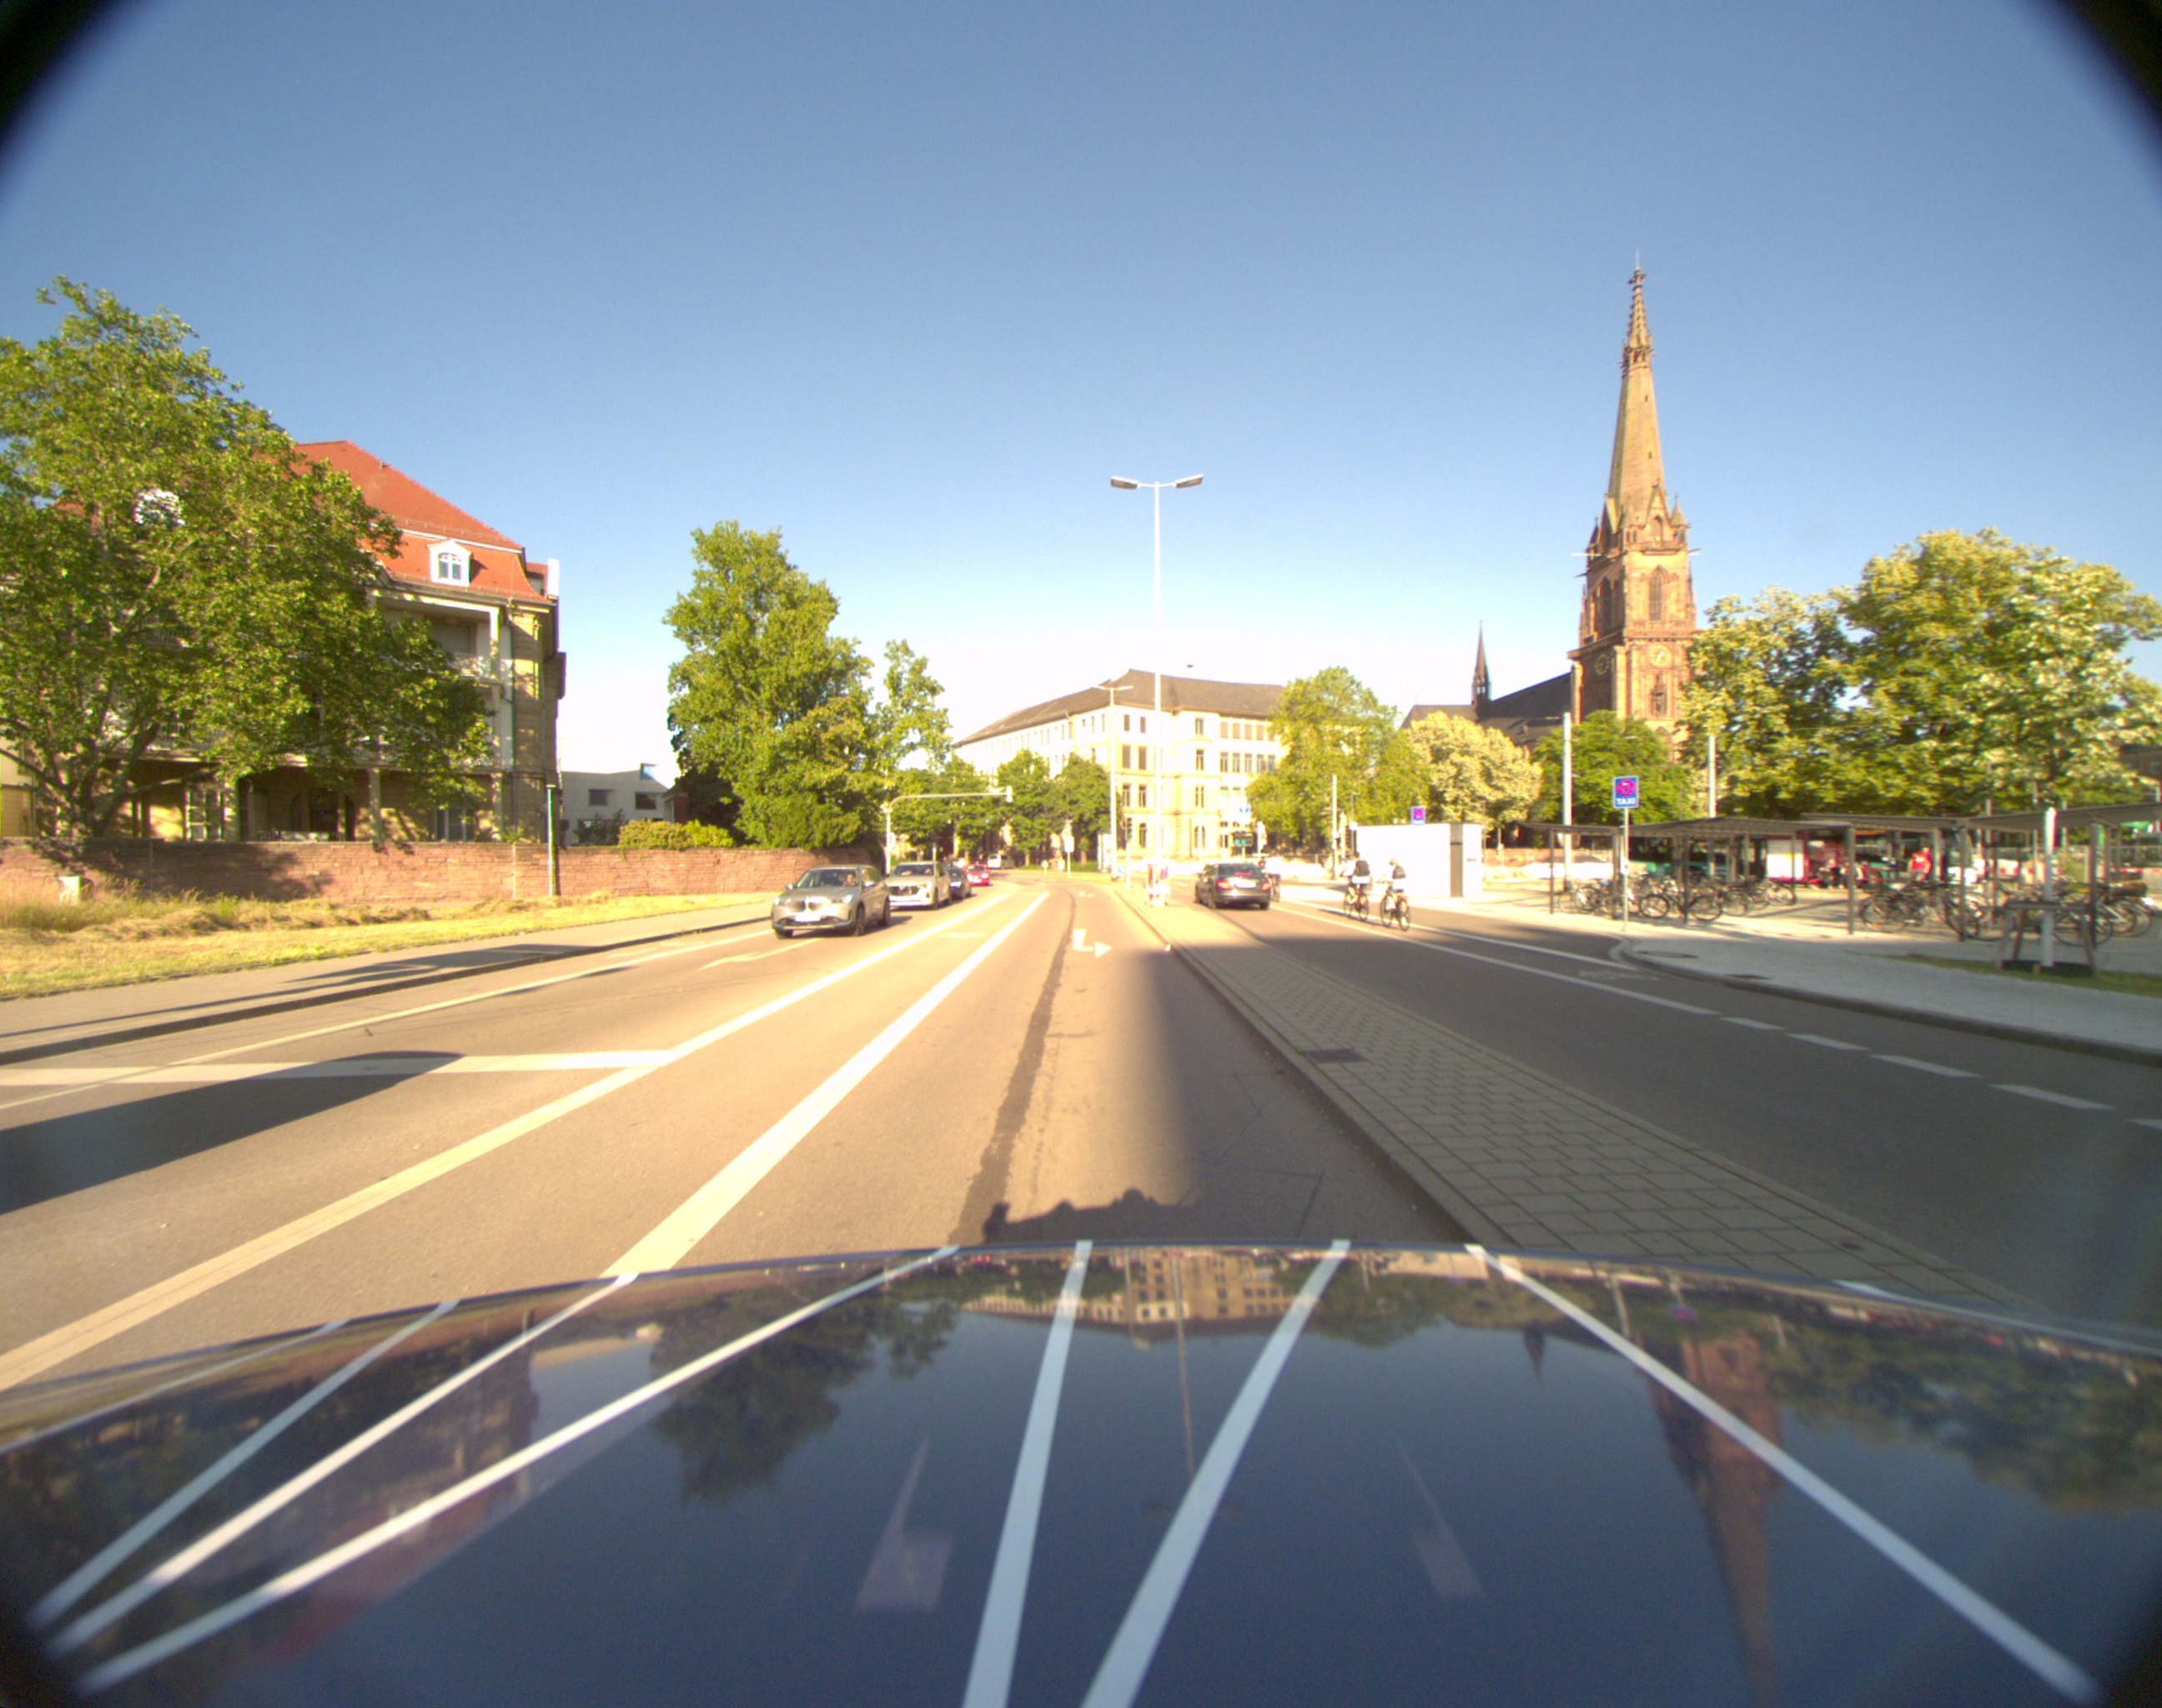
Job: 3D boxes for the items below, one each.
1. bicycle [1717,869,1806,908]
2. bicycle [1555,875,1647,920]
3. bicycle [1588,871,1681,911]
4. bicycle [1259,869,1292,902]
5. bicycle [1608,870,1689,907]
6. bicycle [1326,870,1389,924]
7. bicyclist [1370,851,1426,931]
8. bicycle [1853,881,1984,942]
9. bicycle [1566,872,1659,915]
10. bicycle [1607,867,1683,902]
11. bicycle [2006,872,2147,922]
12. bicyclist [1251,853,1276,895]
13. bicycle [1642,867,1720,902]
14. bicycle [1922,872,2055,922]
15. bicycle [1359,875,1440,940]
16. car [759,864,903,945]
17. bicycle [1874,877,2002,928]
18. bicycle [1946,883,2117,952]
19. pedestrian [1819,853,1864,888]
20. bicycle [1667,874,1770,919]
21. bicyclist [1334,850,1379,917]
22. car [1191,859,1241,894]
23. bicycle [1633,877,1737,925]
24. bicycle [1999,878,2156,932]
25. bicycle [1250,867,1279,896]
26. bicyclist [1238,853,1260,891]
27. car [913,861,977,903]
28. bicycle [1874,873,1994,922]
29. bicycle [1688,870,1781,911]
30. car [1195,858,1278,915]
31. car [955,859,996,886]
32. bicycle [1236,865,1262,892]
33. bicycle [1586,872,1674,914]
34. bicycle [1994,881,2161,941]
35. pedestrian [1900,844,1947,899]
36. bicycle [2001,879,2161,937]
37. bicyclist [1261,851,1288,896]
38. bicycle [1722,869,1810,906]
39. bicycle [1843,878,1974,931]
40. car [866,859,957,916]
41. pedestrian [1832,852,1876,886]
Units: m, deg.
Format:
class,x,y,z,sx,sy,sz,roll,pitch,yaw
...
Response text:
class,x,y,z,sx,sy,sz,roll,pitch,yaw
bicycle,20.801,1.030,23.264,0.418,1.049,1.968,-3,3,-34
bicycle,13.781,1.123,20.213,0.568,1.049,1.968,-3,2,-30
bicycle,16.783,1.094,23.092,0.839,1.049,2.113,-3,3,-37
bicycle,7.137,1.138,28.030,0.881,1.091,2.189,0,1,6
bicycle,17.818,1.067,23.895,0.512,1.049,1.967,-4,3,-42
bicycle,7.158,1.077,19.818,0.764,1.180,2.606,-2,1,3
bicyclist,6.896,0.788,16.577,0.764,1.659,1.062,-2,1,3
bicycle,17.388,1.164,15.820,0.486,1.099,1.796,-3,3,-41
bicycle,14.884,1.091,21.342,0.684,1.049,2.017,-3,3,-34
bicycle,18.830,1.011,25.417,0.498,1.049,1.968,-3,3,-38
bicycle,24.274,1.018,18.579,0.567,1.083,2.066,-3,3,-36
bicyclist,7.421,0.804,30.870,0.865,1.644,0.944,0,1,6
bicycle,19.767,0.979,25.068,0.418,1.049,1.968,-3,3,-34
bicycle,22.545,1.032,18.928,0.567,1.083,2.066,-3,3,-36
bicycle,6.913,1.122,16.646,0.764,1.180,2.606,-2,1,3
car,-5.832,1.108,18.354,2.155,1.611,4.361,0,1,-2
bicycle,20.155,1.104,17.909,0.768,1.038,1.926,-3,3,-37
bicycle,17.930,1.157,14.389,0.568,1.099,1.968,-3,3,-35
pedestrian,30.830,0.652,30.807,1.055,1.342,1.076,-3,1,-32
bicycle,16.929,1.097,20.228,0.759,1.049,1.968,-3,3,-35
bicyclist,7.143,0.743,19.730,0.764,1.659,1.062,-2,1,3
car,5.510,0.881,31.370,1.383,1.330,3.503,0,1,-1
bicycle,15.122,1.143,19.078,0.568,1.049,1.968,-3,3,-37
bicycle,22.348,1.106,17.113,0.605,1.038,2.102,-3,3,-37
bicycle,7.399,1.096,30.734,0.881,1.091,2.189,0,1,6
bicyclist,7.355,0.780,33.276,0.865,1.644,0.944,0,1,6
car,-5.989,1.199,34.011,2.194,1.576,4.604,-2,1,-3
bicycle,21.119,1.053,18.863,0.537,1.083,1.926,-3,3,-36
bicycle,18.977,1.036,22.122,0.568,1.049,1.968,-3,3,-37
car,4.716,0.944,23.581,1.805,1.436,3.977,-1,2,1
car,-6.807,1.167,49.630,2.194,1.576,4.604,-2,1,-3
bicycle,7.376,1.066,33.376,0.881,1.091,2.189,0,1,6
bicycle,15.734,1.094,21.828,0.684,1.049,1.931,-3,3,-34
bicycle,20.264,1.123,15.504,0.605,1.038,2.028,-3,3,-34
pedestrian,32.500,0.659,29.311,1.136,2.002,1.027,-3,1,-32
bicycle,21.189,1.112,16.135,0.605,1.038,2.029,-3,2,-31
bicyclist,7.128,0.699,28.021,0.865,1.644,0.944,0,1,6
bicycle,21.151,1.013,23.509,0.418,1.049,1.968,-3,3,-34
bicycle,18.802,1.116,17.310,0.867,1.038,1.926,-3,3,-37
car,-5.853,1.096,26.847,2.194,1.674,4.605,-2,1,-1
pedestrian,32.222,0.624,31.681,1.055,1.342,1.076,-3,1,-32
